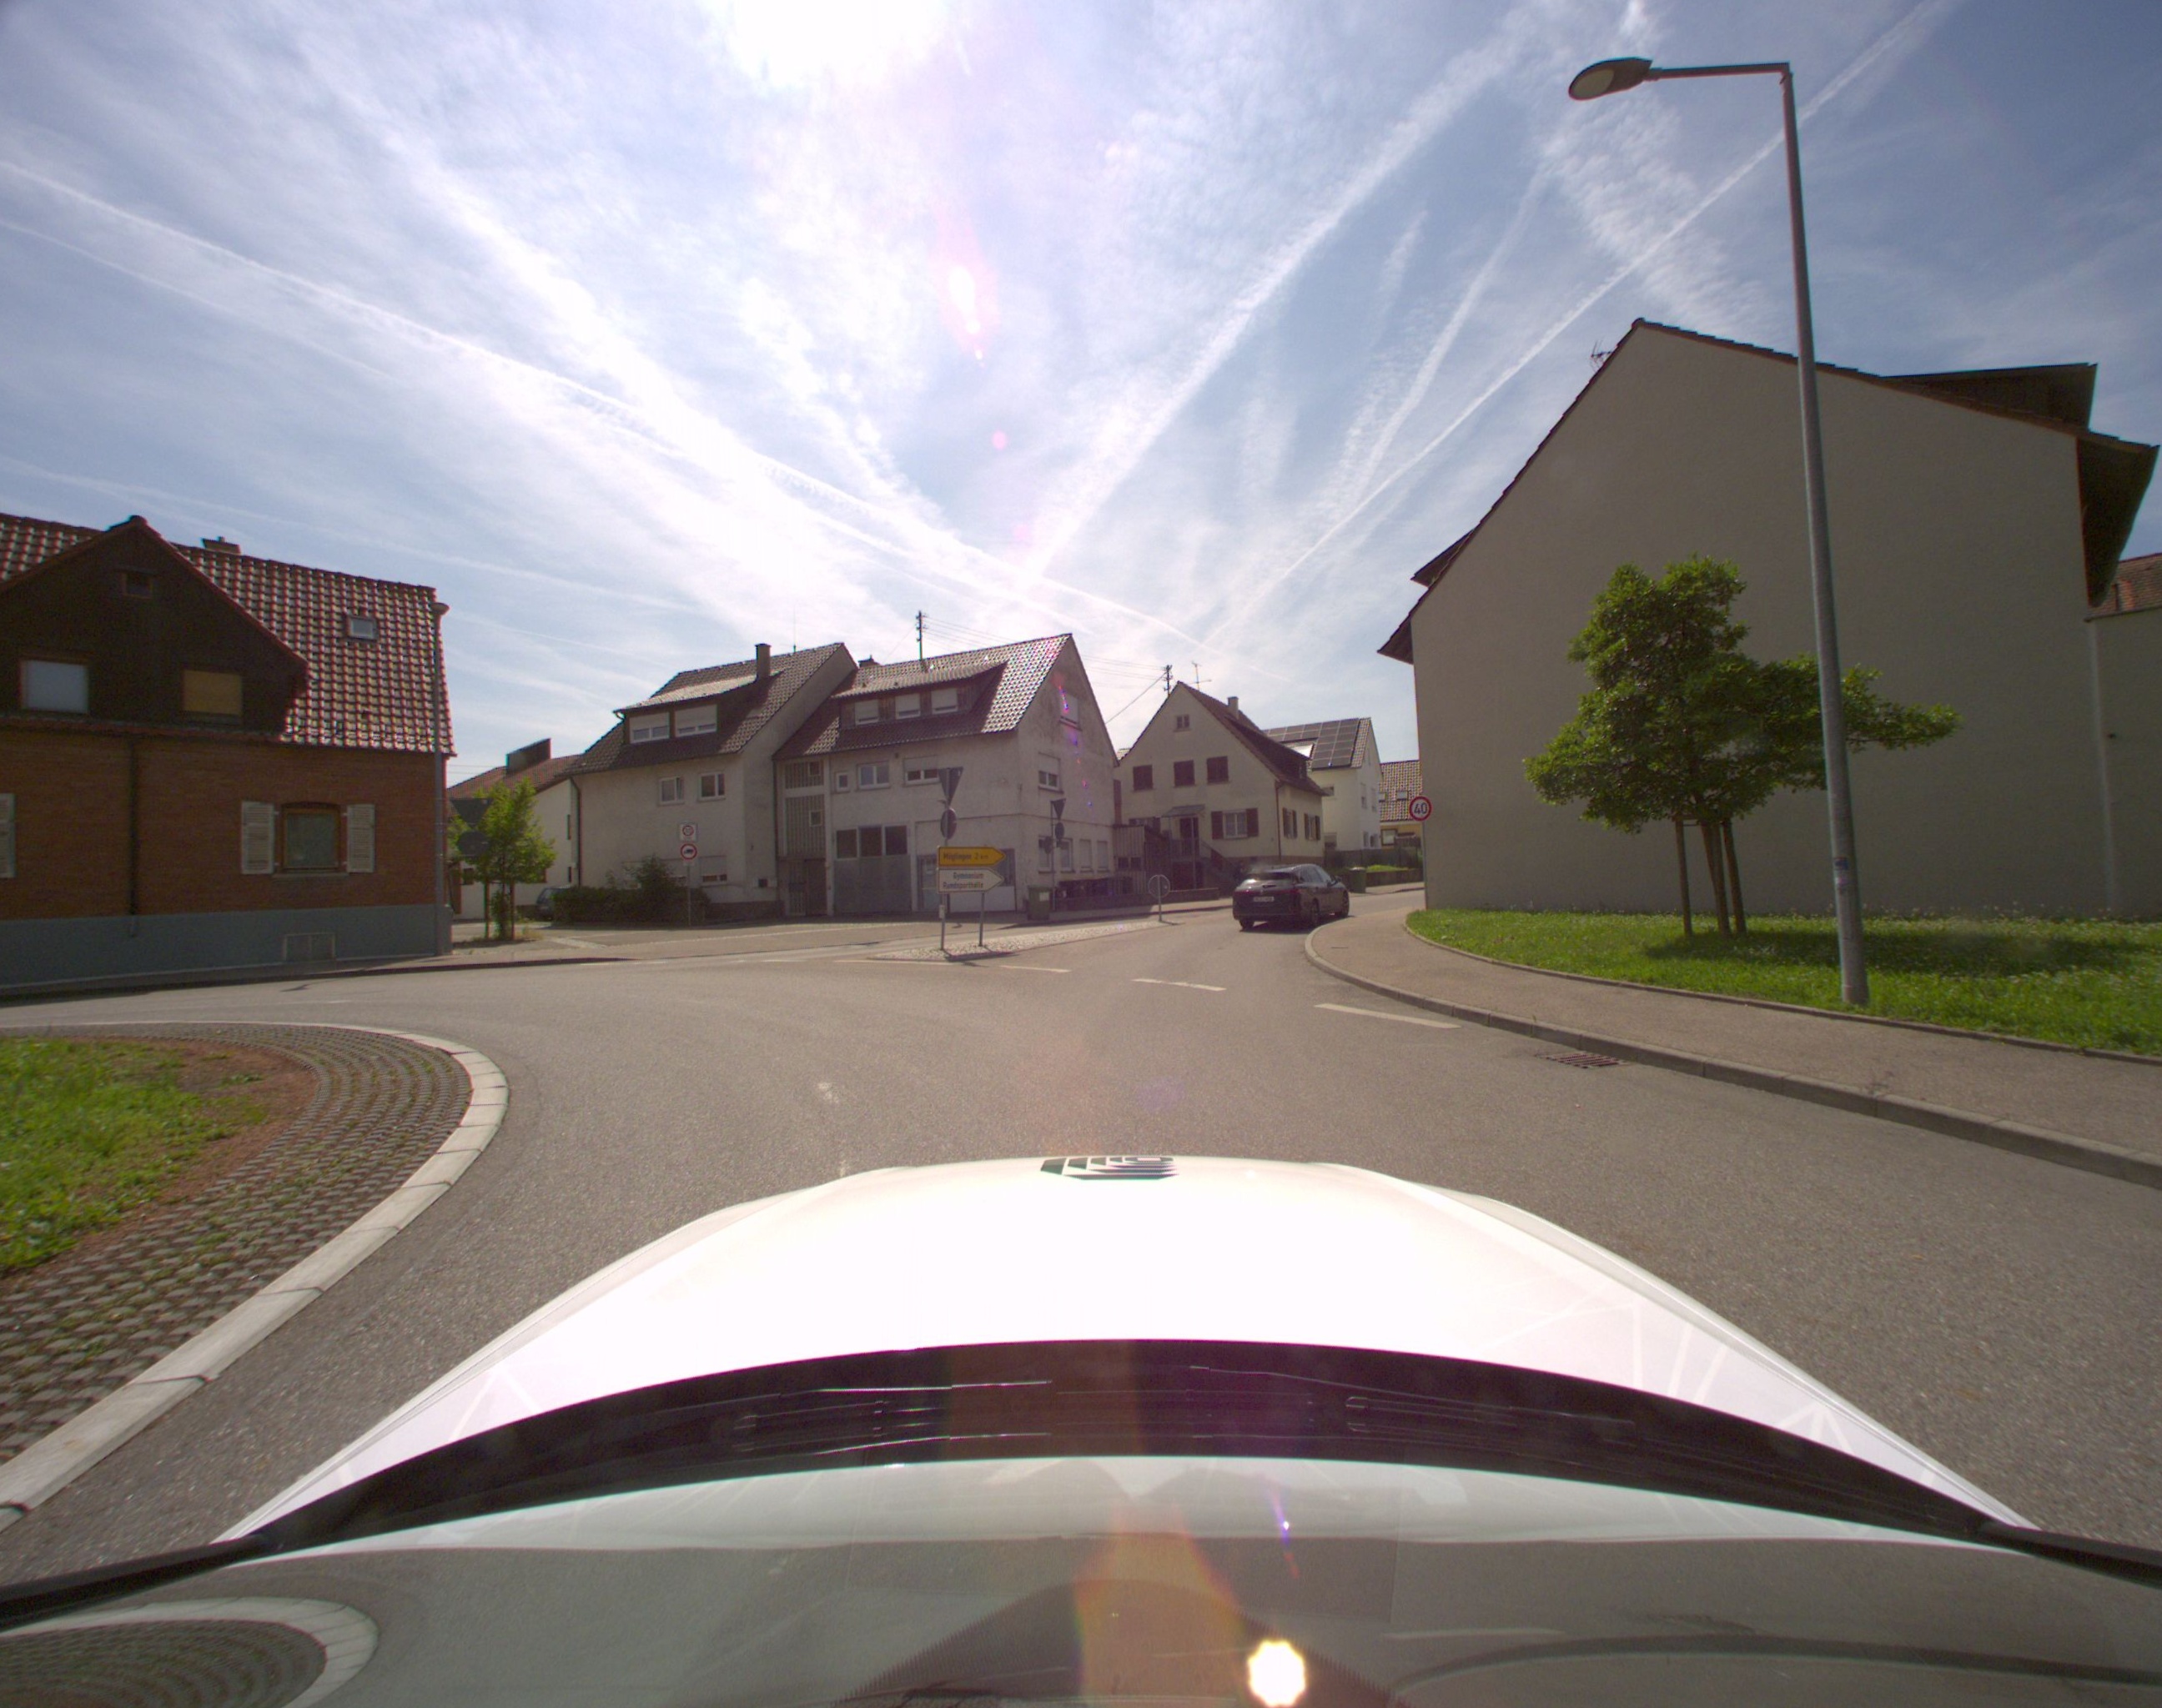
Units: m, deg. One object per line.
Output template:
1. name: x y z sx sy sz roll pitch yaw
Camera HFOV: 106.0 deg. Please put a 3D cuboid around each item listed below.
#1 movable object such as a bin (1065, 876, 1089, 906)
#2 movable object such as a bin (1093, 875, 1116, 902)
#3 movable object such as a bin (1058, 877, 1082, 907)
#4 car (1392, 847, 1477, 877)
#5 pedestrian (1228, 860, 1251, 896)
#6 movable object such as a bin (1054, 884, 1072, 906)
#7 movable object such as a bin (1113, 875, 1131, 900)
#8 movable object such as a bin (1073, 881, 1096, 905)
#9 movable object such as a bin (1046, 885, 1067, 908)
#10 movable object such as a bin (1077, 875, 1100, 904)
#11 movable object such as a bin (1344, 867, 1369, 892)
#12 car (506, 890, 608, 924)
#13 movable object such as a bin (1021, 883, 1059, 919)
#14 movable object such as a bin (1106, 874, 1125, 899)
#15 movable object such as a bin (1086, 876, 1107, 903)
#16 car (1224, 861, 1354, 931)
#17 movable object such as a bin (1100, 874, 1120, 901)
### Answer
1. movable object such as a bin: -0.141 1.422 31.357 0.677 1.086 0.702 -3 -1 21
2. movable object such as a bin: 0.975 1.417 33.851 0.732 1.082 0.664 -3 -1 21
3. movable object such as a bin: -0.399 1.429 30.685 0.677 1.086 0.648 -3 -1 21
4. car: 21.575 0.488 49.766 4.358 1.622 2.013 -3 -2 35
5. pedestrian: 7.160 1.074 36.818 0.769 1.574 0.632 -3 -1 39
6. movable object such as a bin: -0.660 1.527 30.199 0.481 0.780 0.530 -3 -1 21
7. movable object such as a bin: 1.795 1.469 35.590 0.623 1.034 0.616 -3 -1 21
8. movable object such as a bin: 0.150 1.522 32.029 0.677 0.896 0.702 -3 -1 21
9. movable object such as a bin: -0.892 1.542 29.659 0.481 0.805 0.650 -3 -1 23
10. movable object such as a bin: 0.317 1.418 32.473 0.677 1.082 0.702 -3 -1 21
11. movable object such as a bin: 11.880 1.102 35.091 0.784 1.057 0.655 -4 -2 44
12. car: -22.666 2.268 35.357 1.474 1.251 3.429 -3 -1 26
13. movable object such as a bin: -1.241 1.414 24.842 0.830 1.045 0.803 -2 -1 -32
14. movable object such as a bin: 1.478 1.397 35.053 0.622 1.035 0.607 -3 -1 21
15. movable object such as a bin: 0.636 1.443 33.284 0.677 1.082 0.629 -3 -1 21
16. car: 5.285 0.974 20.222 1.823 1.420 4.712 -3 -1 31
17. movable object such as a bin: 1.229 1.413 34.465 0.672 1.082 0.587 -3 -1 21
